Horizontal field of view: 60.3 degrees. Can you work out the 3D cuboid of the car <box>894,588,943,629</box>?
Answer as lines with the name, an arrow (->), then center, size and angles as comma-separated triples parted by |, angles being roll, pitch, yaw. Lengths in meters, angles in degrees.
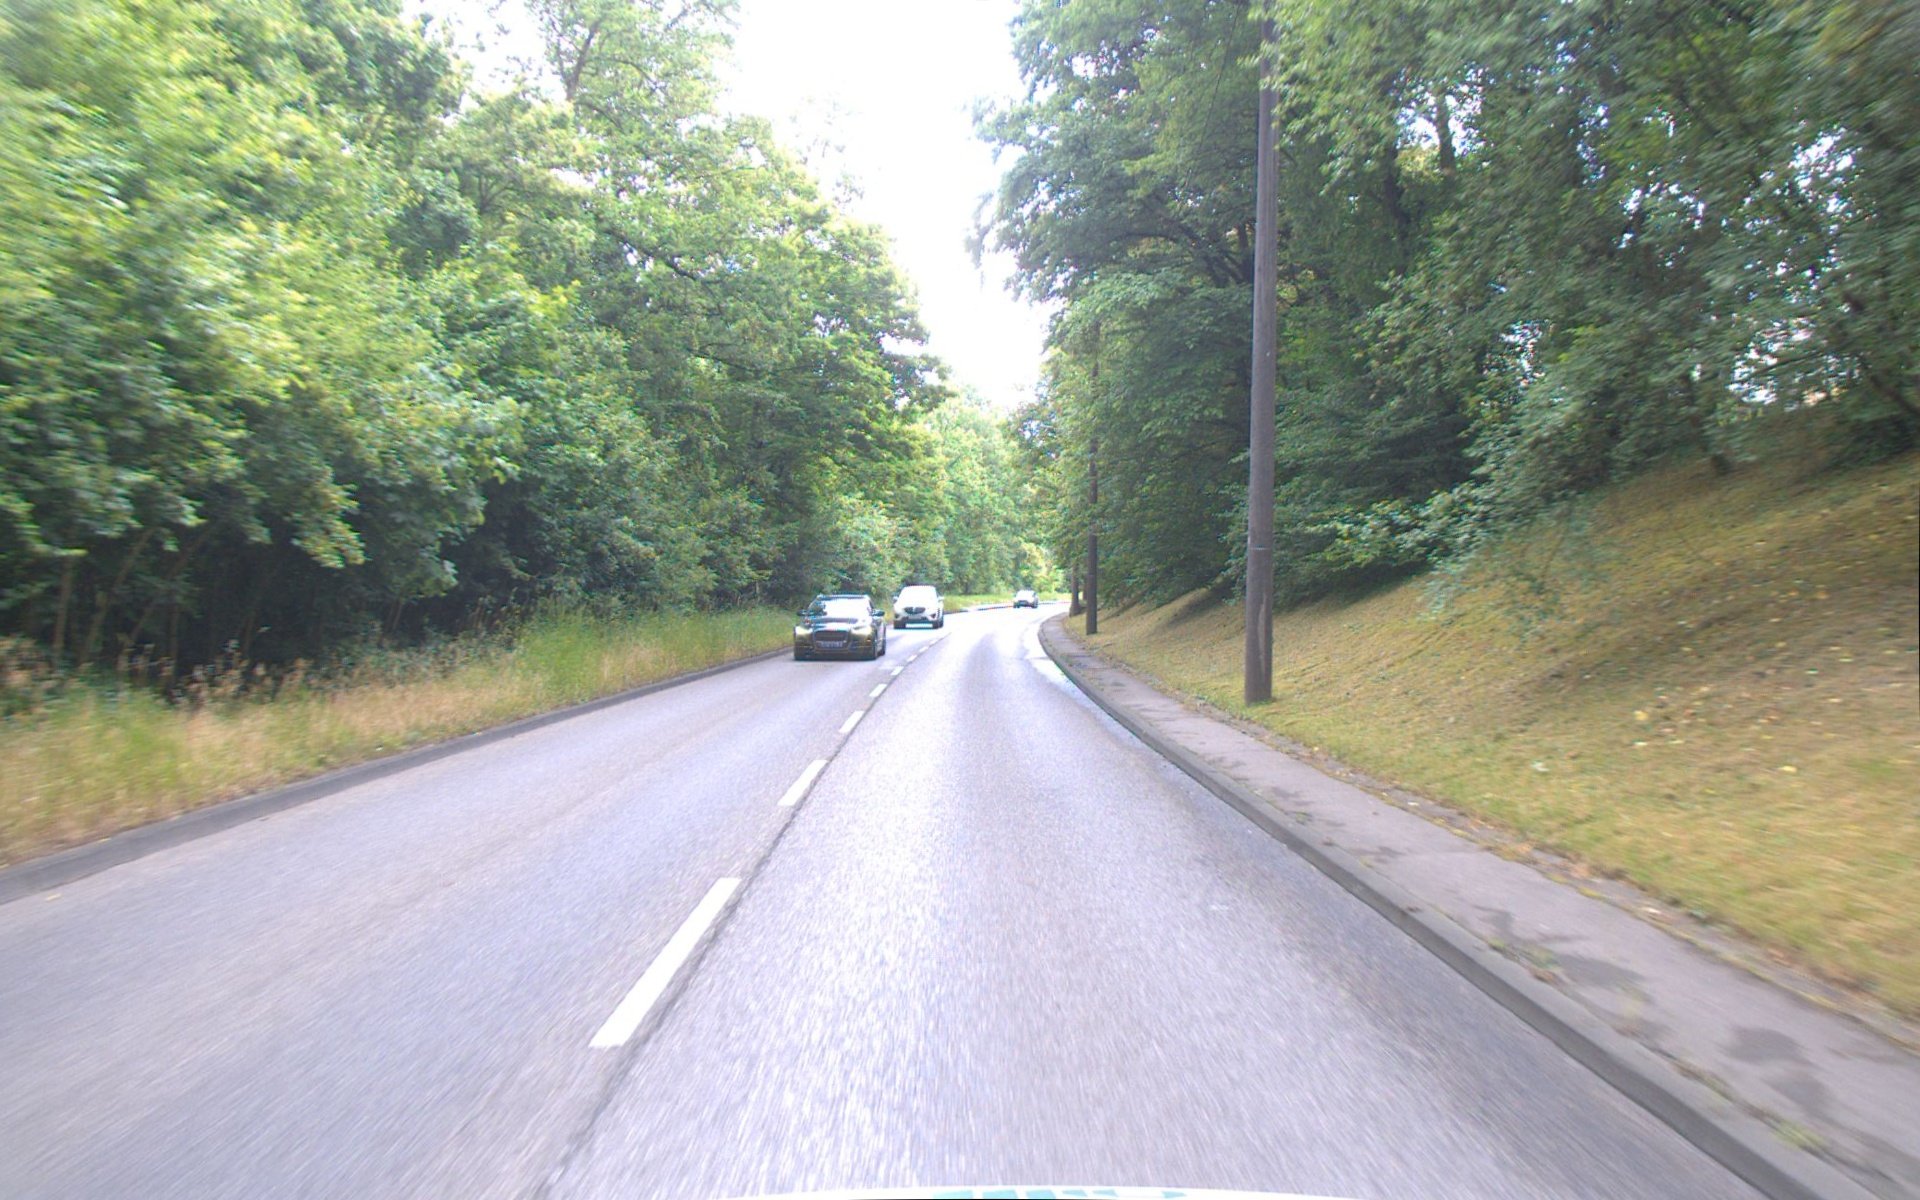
car -> -1.681, 0.336, 67.179 | 1.903, 1.609, 4.439 | 0, 0, -1

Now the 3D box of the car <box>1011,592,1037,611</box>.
car -> 5.411, 0.107, 140.891 | 1.953, 1.569, 3.999 | 0, 0, -1

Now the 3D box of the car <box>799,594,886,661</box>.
car -> -2.631, 0.586, 37.918 | 1.773, 1.445, 3.999 | 0, 0, -1
